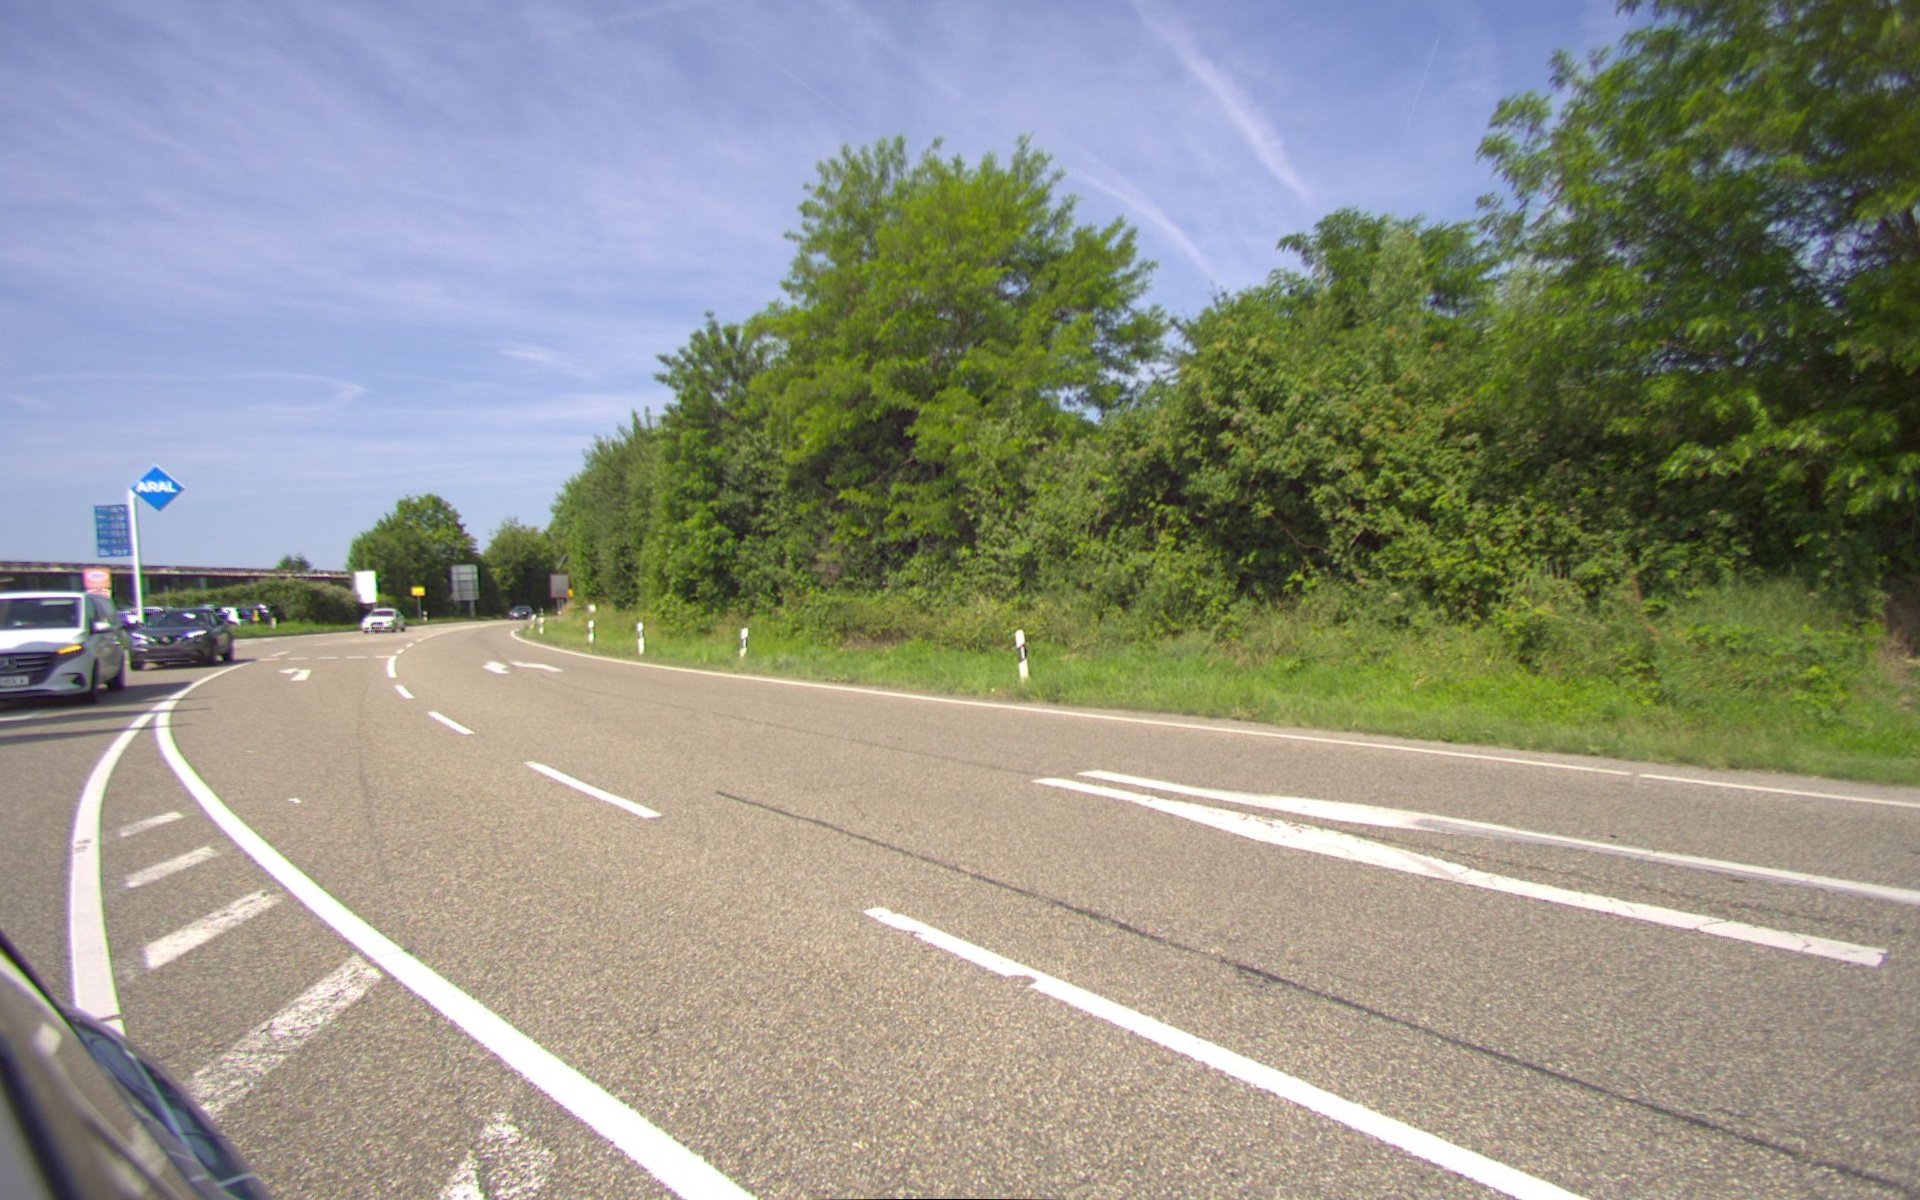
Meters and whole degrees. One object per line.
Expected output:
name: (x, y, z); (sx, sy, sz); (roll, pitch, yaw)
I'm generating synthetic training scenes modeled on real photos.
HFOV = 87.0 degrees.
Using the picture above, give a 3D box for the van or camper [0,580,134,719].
van or camper: (-15.715, 0.779, 17.206); (1.967, 2.029, 5.304); (-3, 1, -33)

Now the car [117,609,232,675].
car: (-20.929, 1.062, 27.116); (1.791, 1.552, 3.739); (-3, 1, -29)

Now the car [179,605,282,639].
car: (-40.008, 1.190, 55.612); (4.187, 1.650, 1.827); (-2, -1, -14)

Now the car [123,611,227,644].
car: (-44.130, 1.553, 56.989); (4.187, 1.650, 1.827); (-2, -1, -14)

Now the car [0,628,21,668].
car: (-41.834, 2.068, 41.741); (4.187, 1.650, 1.827); (-2, -1, -14)

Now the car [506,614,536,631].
car: (-47.535, 2.445, 109.578); (1.839, 1.653, 4.429); (-2, 1, -8)

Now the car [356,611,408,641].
car: (-34.785, 1.536, 60.998); (1.837, 1.653, 4.435); (-2, 1, -19)
